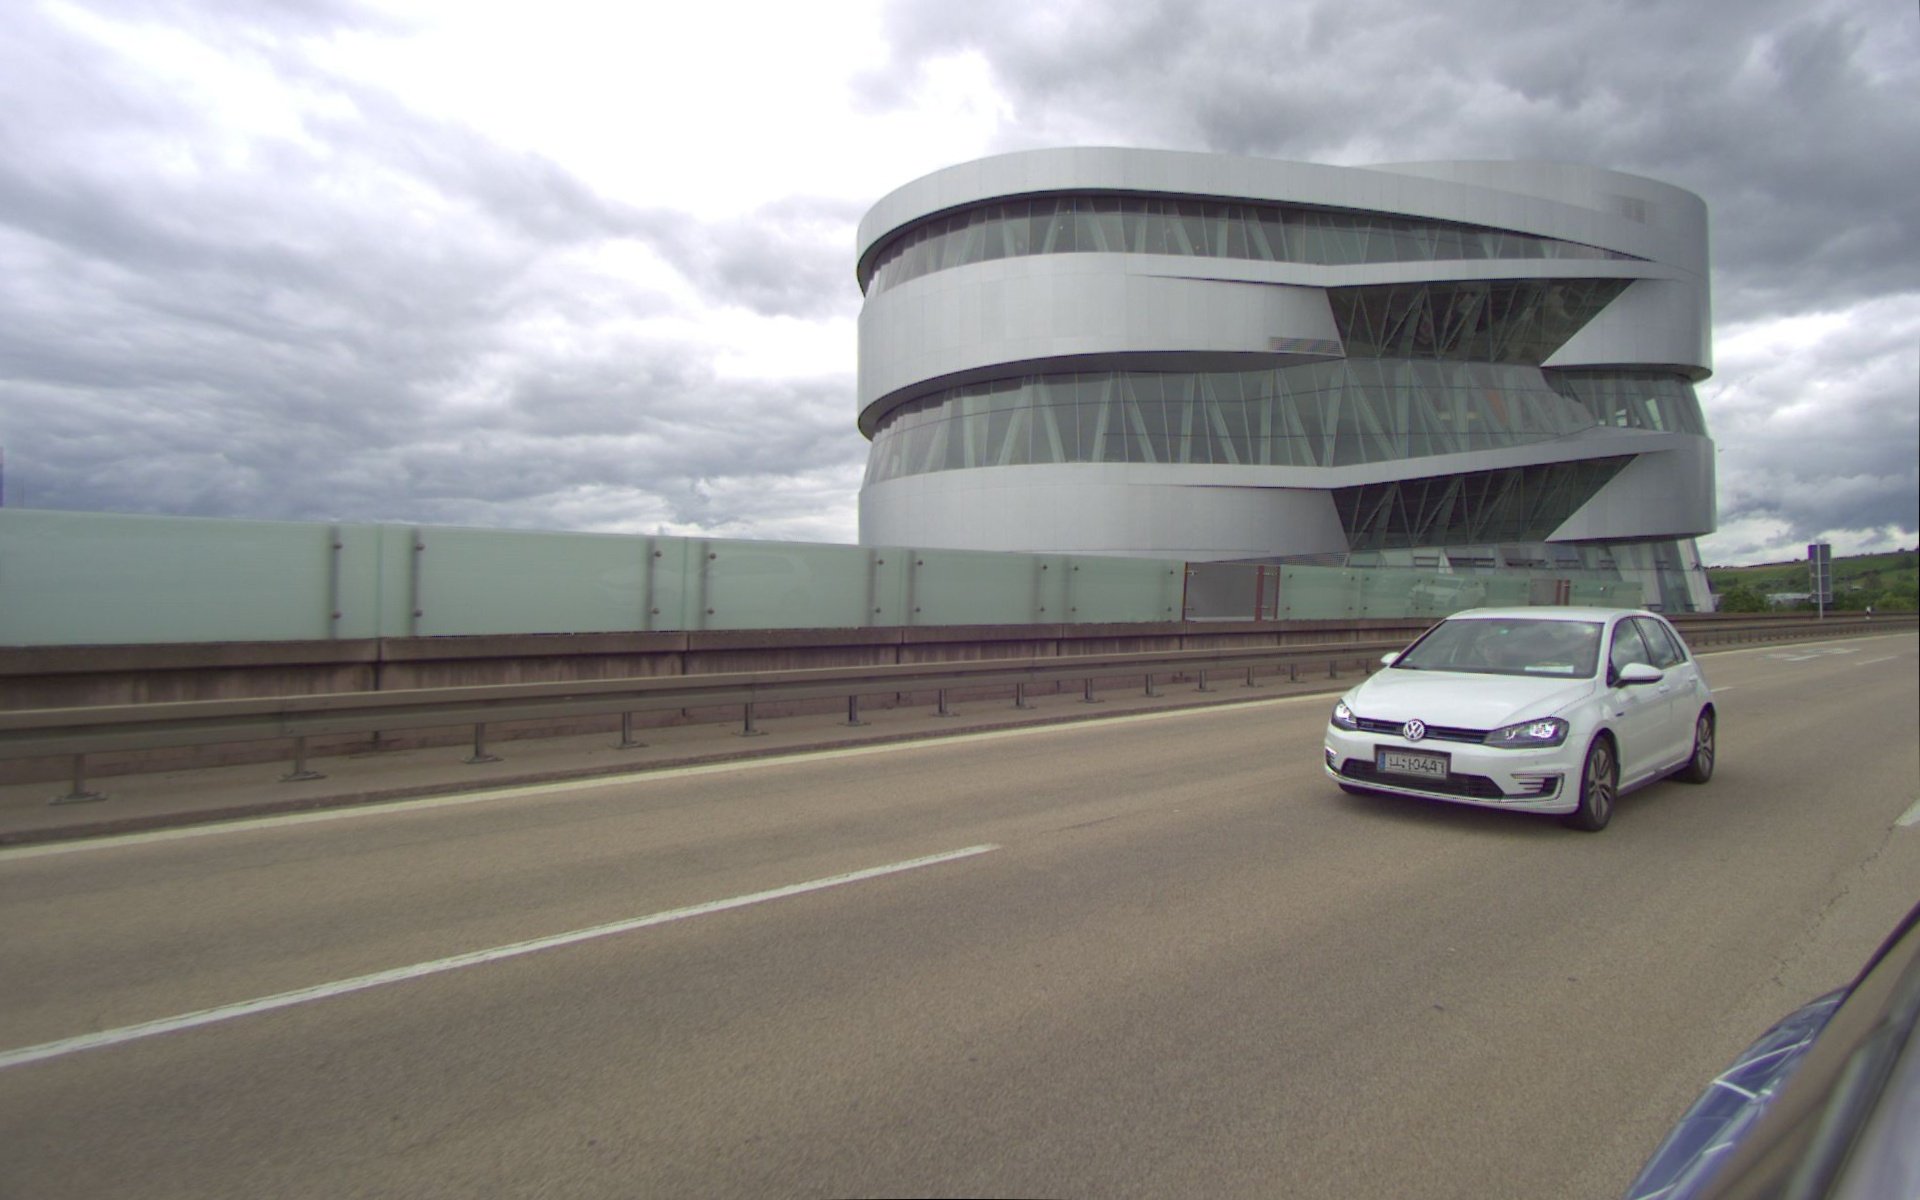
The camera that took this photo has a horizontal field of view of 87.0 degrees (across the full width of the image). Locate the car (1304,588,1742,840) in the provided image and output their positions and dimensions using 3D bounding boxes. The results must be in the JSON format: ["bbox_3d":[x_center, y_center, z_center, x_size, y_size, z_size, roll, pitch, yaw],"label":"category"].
[{"bbox_3d":[4.537,0.656,7.899,4.001,1.470,1.757,0,0,-41],"label":"car"}]
